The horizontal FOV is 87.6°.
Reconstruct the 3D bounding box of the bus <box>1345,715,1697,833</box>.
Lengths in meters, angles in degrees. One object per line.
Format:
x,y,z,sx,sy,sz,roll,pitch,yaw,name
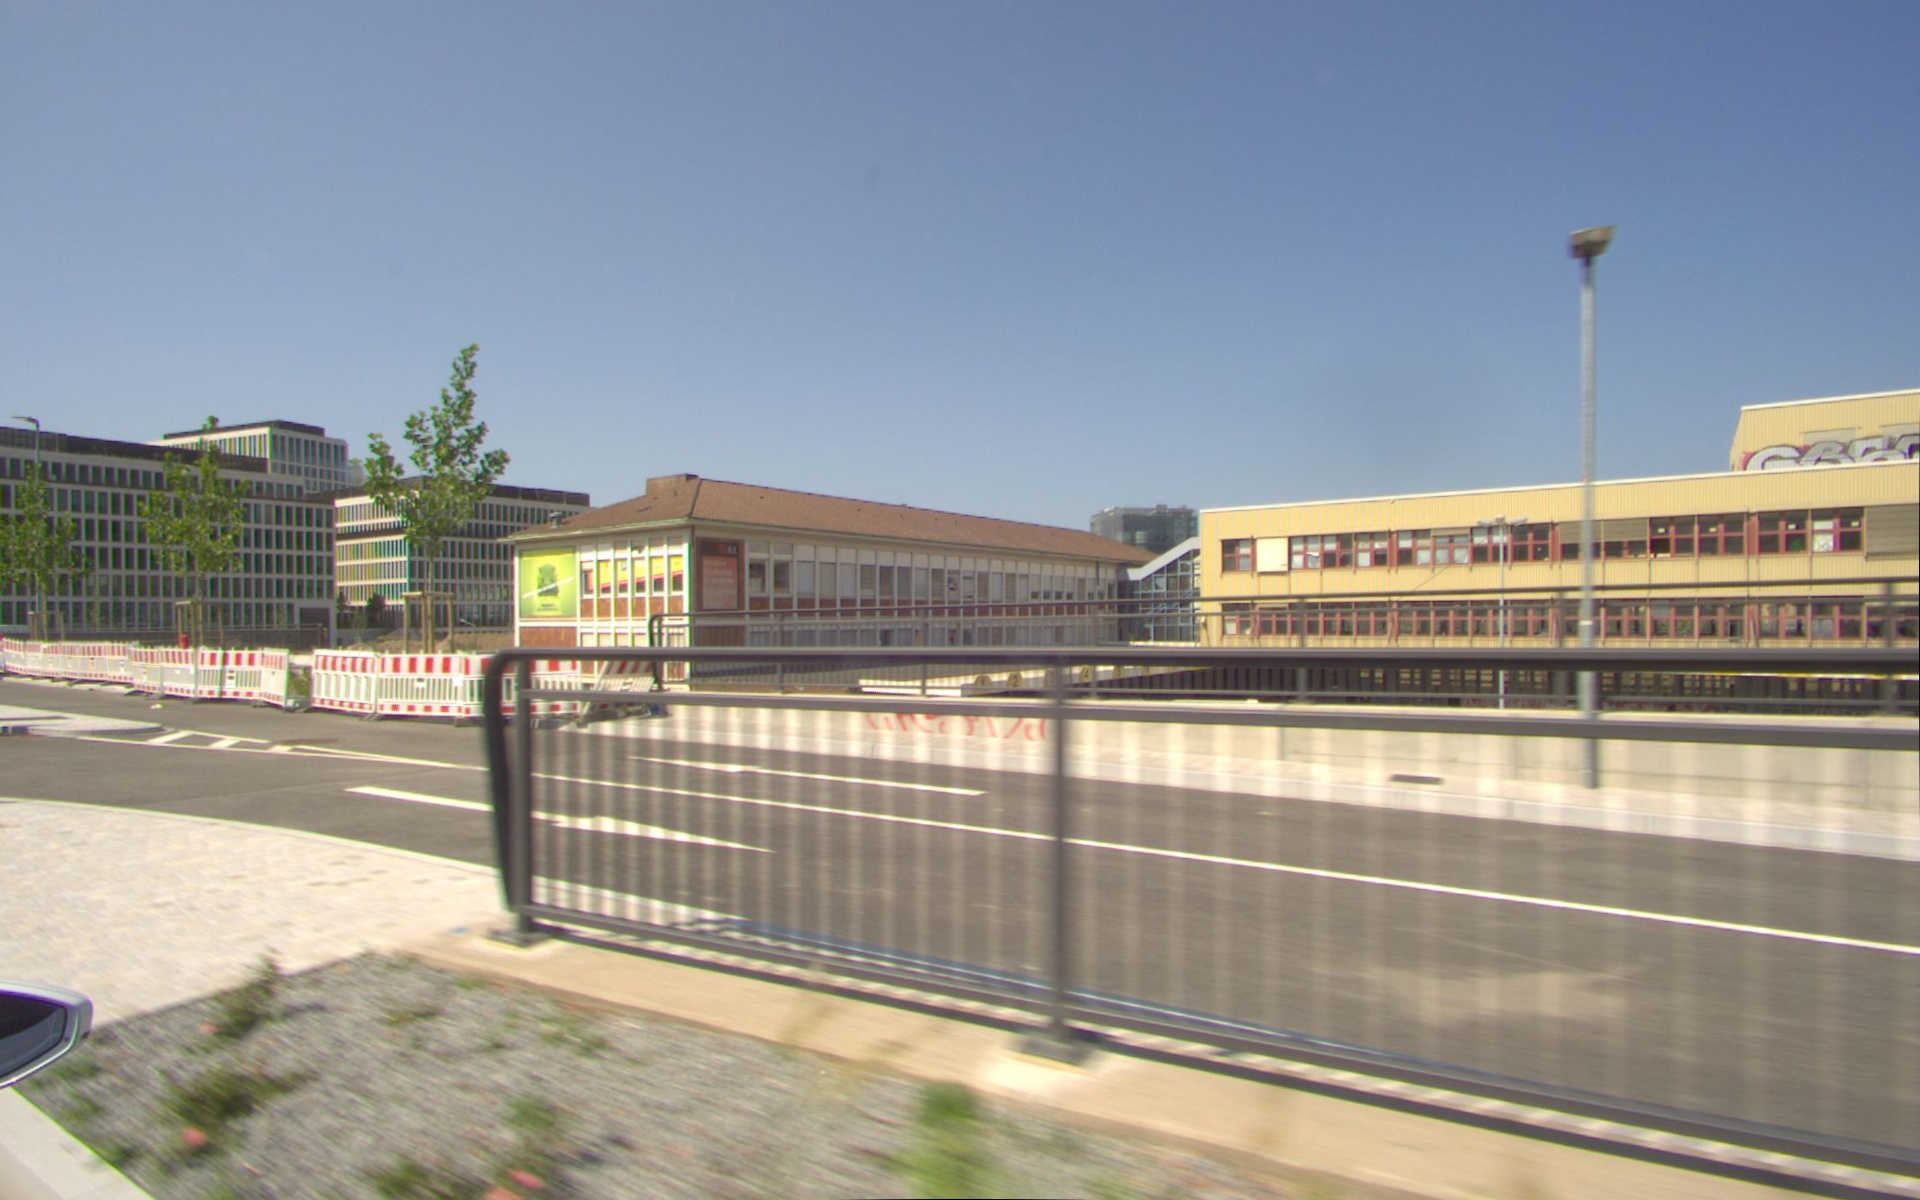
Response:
24.086,7.143,42.521,16.835,3.812,2.659,1,-2,-20,bus

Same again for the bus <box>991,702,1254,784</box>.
8.090,7.189,50.961,12.888,3.812,2.666,0,-1,4,bus

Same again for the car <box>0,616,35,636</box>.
-115.552,3.101,120.606,2.119,2.298,5.820,0,-3,37,car

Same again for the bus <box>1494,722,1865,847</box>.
29.315,7.204,40.438,17.174,3.812,2.660,1,-2,-19,bus

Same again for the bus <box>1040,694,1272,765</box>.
11.153,7.432,57.867,12.887,3.812,2.666,0,-1,0,bus
